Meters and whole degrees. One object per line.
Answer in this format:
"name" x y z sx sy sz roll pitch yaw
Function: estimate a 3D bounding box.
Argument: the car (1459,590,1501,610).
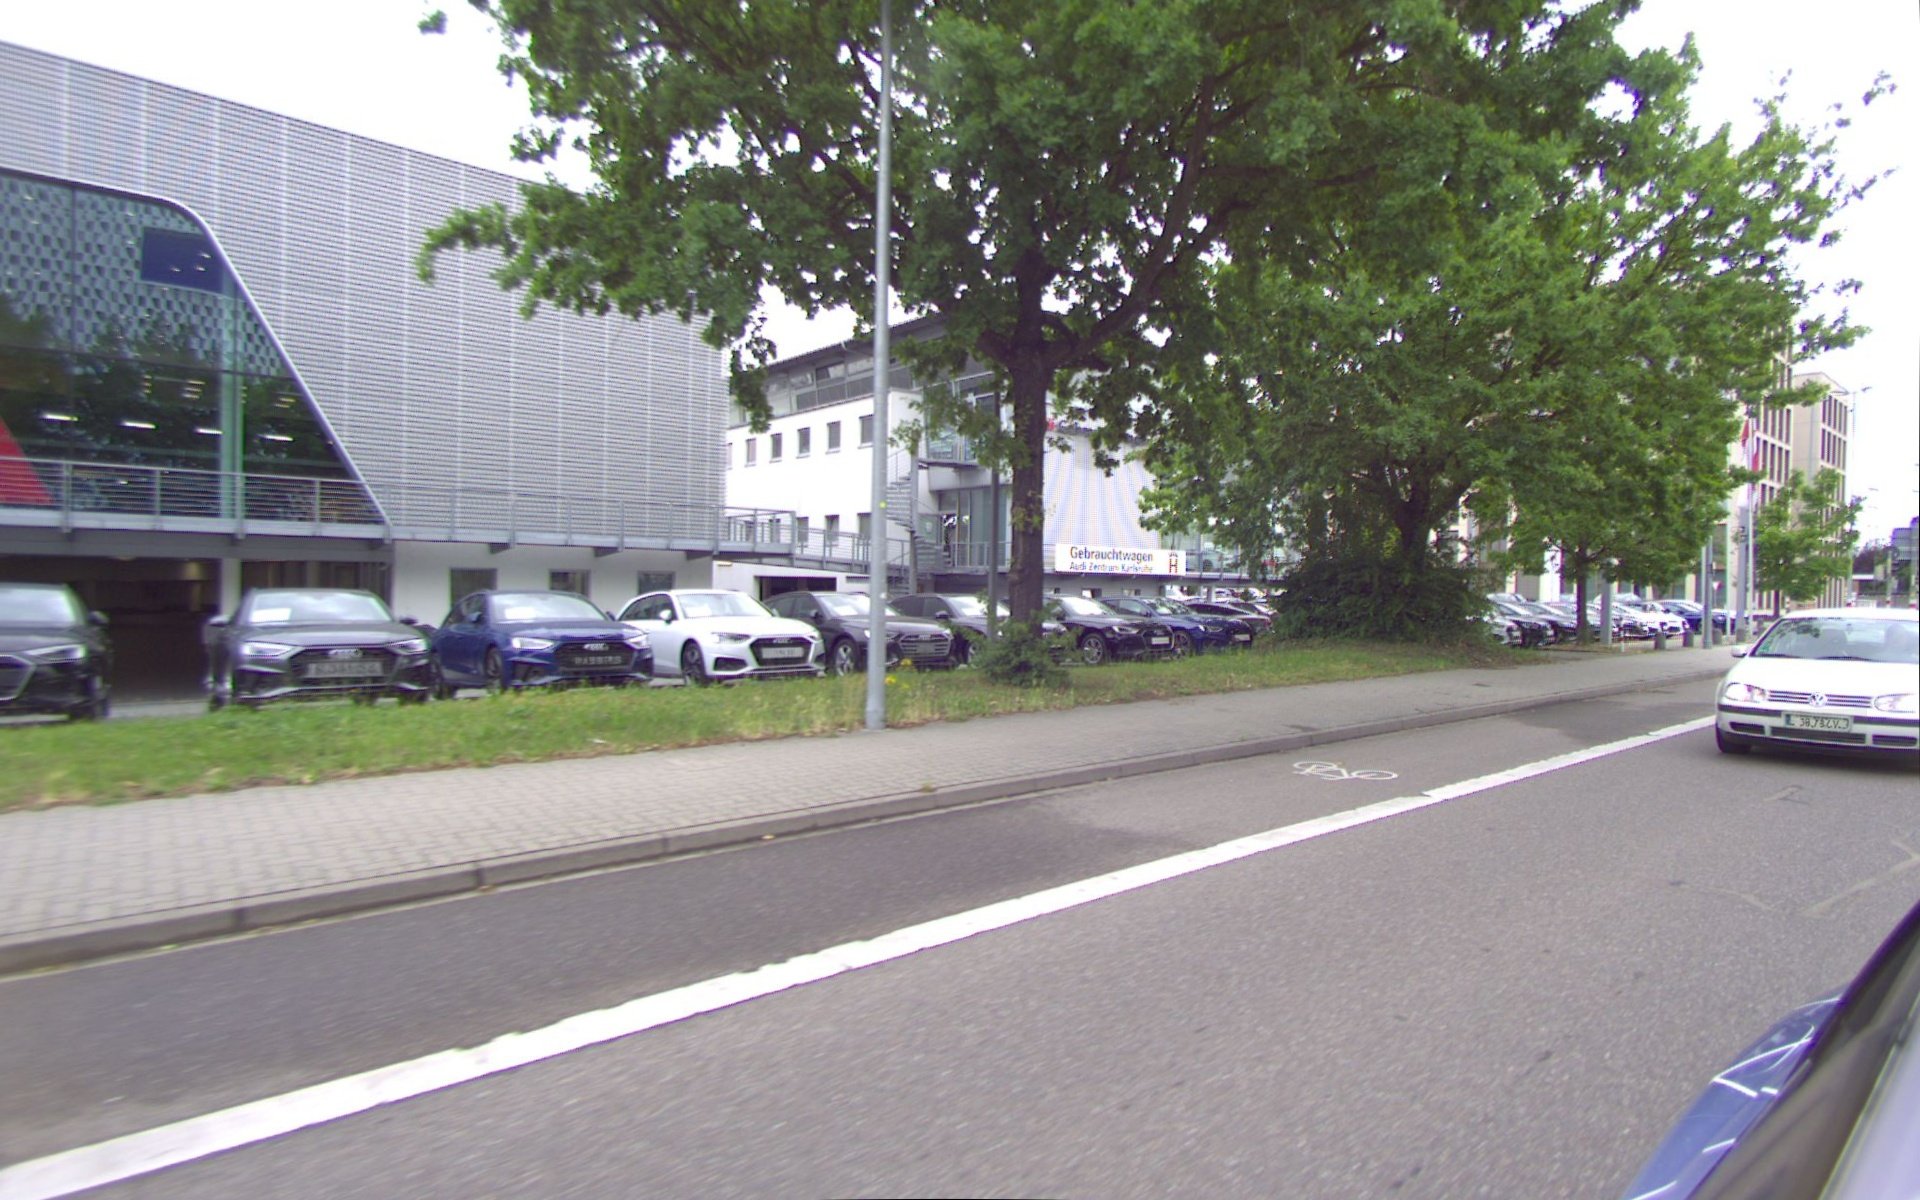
"car" 42.415 -0.010 82.636 1.858 1.571 4.122 1 0 9

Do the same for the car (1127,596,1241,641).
"car" 8.411 0.707 38.268 1.783 1.600 3.963 2 -3 -40

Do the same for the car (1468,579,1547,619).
"car" 30.271 -0.114 55.896 4.951 2.038 2.263 -2 2 -41

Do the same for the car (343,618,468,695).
"car" -11.870 1.142 21.577 1.620 1.420 3.764 3 -1 -40

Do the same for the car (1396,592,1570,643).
"car" 15.355 0.540 29.887 1.868 1.409 4.162 0 -2 -39

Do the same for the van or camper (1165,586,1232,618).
"van or camper" 14.109 0.147 59.858 3.928 1.733 1.845 2 -1 -40

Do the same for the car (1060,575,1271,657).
"car" 4.265 0.427 21.511 1.837 1.412 4.128 3 -6 -40

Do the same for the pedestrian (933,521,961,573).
"pedestrian" -0.529 -2.157 41.546 0.786 2.039 0.745 3 -2 -41

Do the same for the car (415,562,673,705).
"car" -5.435 0.505 12.921 1.941 1.506 4.189 2 -5 -39

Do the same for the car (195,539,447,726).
"car" -7.306 0.447 11.381 1.963 1.685 4.184 2 -5 -38

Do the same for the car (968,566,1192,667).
"car" 2.234 0.420 19.892 1.842 1.624 4.242 3 -7 -40

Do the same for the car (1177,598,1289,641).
"car" 10.702 0.797 39.839 1.783 1.600 3.963 2 -3 -40

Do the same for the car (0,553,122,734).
"car" -9.364 0.469 9.675 1.898 1.476 4.184 2 -5 -38

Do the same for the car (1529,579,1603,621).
"car" 32.044 -0.031 53.467 4.634 2.038 1.997 -2 2 -40

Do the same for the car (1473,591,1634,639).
"car" 19.547 0.518 33.484 1.874 1.505 4.184 0 -2 -40

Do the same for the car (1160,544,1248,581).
"car" 12.213 -1.859 50.744 1.793 1.683 3.994 3 -1 -40

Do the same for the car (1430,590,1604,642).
"car" 17.325 0.523 31.659 1.861 1.489 4.373 0 -2 -40

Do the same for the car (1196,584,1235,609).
"car" 18.275 -0.246 72.674 1.888 1.679 4.442 -1 0 3

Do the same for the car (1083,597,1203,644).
"car" 6.562 0.727 36.610 1.783 1.564 4.110 3 -1 -40

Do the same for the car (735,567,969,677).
"car" -1.856 0.446 16.246 1.786 1.506 4.069 2 -5 -40

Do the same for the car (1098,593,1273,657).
"car" 5.873 0.656 26.761 4.196 1.518 1.767 2 -1 1

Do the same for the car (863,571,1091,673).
"car" 0.177 0.492 18.278 1.793 1.506 4.213 3 -6 -40

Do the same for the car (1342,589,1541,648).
"car" 13.268 0.535 28.145 1.815 1.491 4.657 1 -2 -40

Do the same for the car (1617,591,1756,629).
"car" 31.404 0.461 43.825 2.034 1.505 4.508 -1 -1 -41

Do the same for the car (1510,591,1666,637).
"car" 21.741 0.502 35.190 1.837 1.505 4.227 0 -2 -38

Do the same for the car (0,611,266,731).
"car" -13.485 1.071 16.023 3.928 1.683 1.897 2 -1 -40

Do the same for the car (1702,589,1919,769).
"car" 9.146 0.683 10.133 3.932 1.496 1.837 1 0 -39

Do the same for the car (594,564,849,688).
"car" -3.560 0.473 14.598 1.924 1.506 4.202 2 -5 -40

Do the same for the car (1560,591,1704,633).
"car" 25.597 0.479 38.672 1.819 1.505 4.193 0 -2 -38

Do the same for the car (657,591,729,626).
"car" -13.100 0.371 49.511 1.838 1.655 4.131 0 1 -40

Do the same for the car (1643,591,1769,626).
"car" 33.577 0.371 45.651 1.841 1.505 4.225 -1 0 -39

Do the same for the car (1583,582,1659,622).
"car" 33.626 0.070 51.443 4.704 1.886 1.997 -2 2 -41

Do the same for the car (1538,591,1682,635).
"car" 23.642 0.498 36.907 1.843 1.505 4.039 0 -2 -39
